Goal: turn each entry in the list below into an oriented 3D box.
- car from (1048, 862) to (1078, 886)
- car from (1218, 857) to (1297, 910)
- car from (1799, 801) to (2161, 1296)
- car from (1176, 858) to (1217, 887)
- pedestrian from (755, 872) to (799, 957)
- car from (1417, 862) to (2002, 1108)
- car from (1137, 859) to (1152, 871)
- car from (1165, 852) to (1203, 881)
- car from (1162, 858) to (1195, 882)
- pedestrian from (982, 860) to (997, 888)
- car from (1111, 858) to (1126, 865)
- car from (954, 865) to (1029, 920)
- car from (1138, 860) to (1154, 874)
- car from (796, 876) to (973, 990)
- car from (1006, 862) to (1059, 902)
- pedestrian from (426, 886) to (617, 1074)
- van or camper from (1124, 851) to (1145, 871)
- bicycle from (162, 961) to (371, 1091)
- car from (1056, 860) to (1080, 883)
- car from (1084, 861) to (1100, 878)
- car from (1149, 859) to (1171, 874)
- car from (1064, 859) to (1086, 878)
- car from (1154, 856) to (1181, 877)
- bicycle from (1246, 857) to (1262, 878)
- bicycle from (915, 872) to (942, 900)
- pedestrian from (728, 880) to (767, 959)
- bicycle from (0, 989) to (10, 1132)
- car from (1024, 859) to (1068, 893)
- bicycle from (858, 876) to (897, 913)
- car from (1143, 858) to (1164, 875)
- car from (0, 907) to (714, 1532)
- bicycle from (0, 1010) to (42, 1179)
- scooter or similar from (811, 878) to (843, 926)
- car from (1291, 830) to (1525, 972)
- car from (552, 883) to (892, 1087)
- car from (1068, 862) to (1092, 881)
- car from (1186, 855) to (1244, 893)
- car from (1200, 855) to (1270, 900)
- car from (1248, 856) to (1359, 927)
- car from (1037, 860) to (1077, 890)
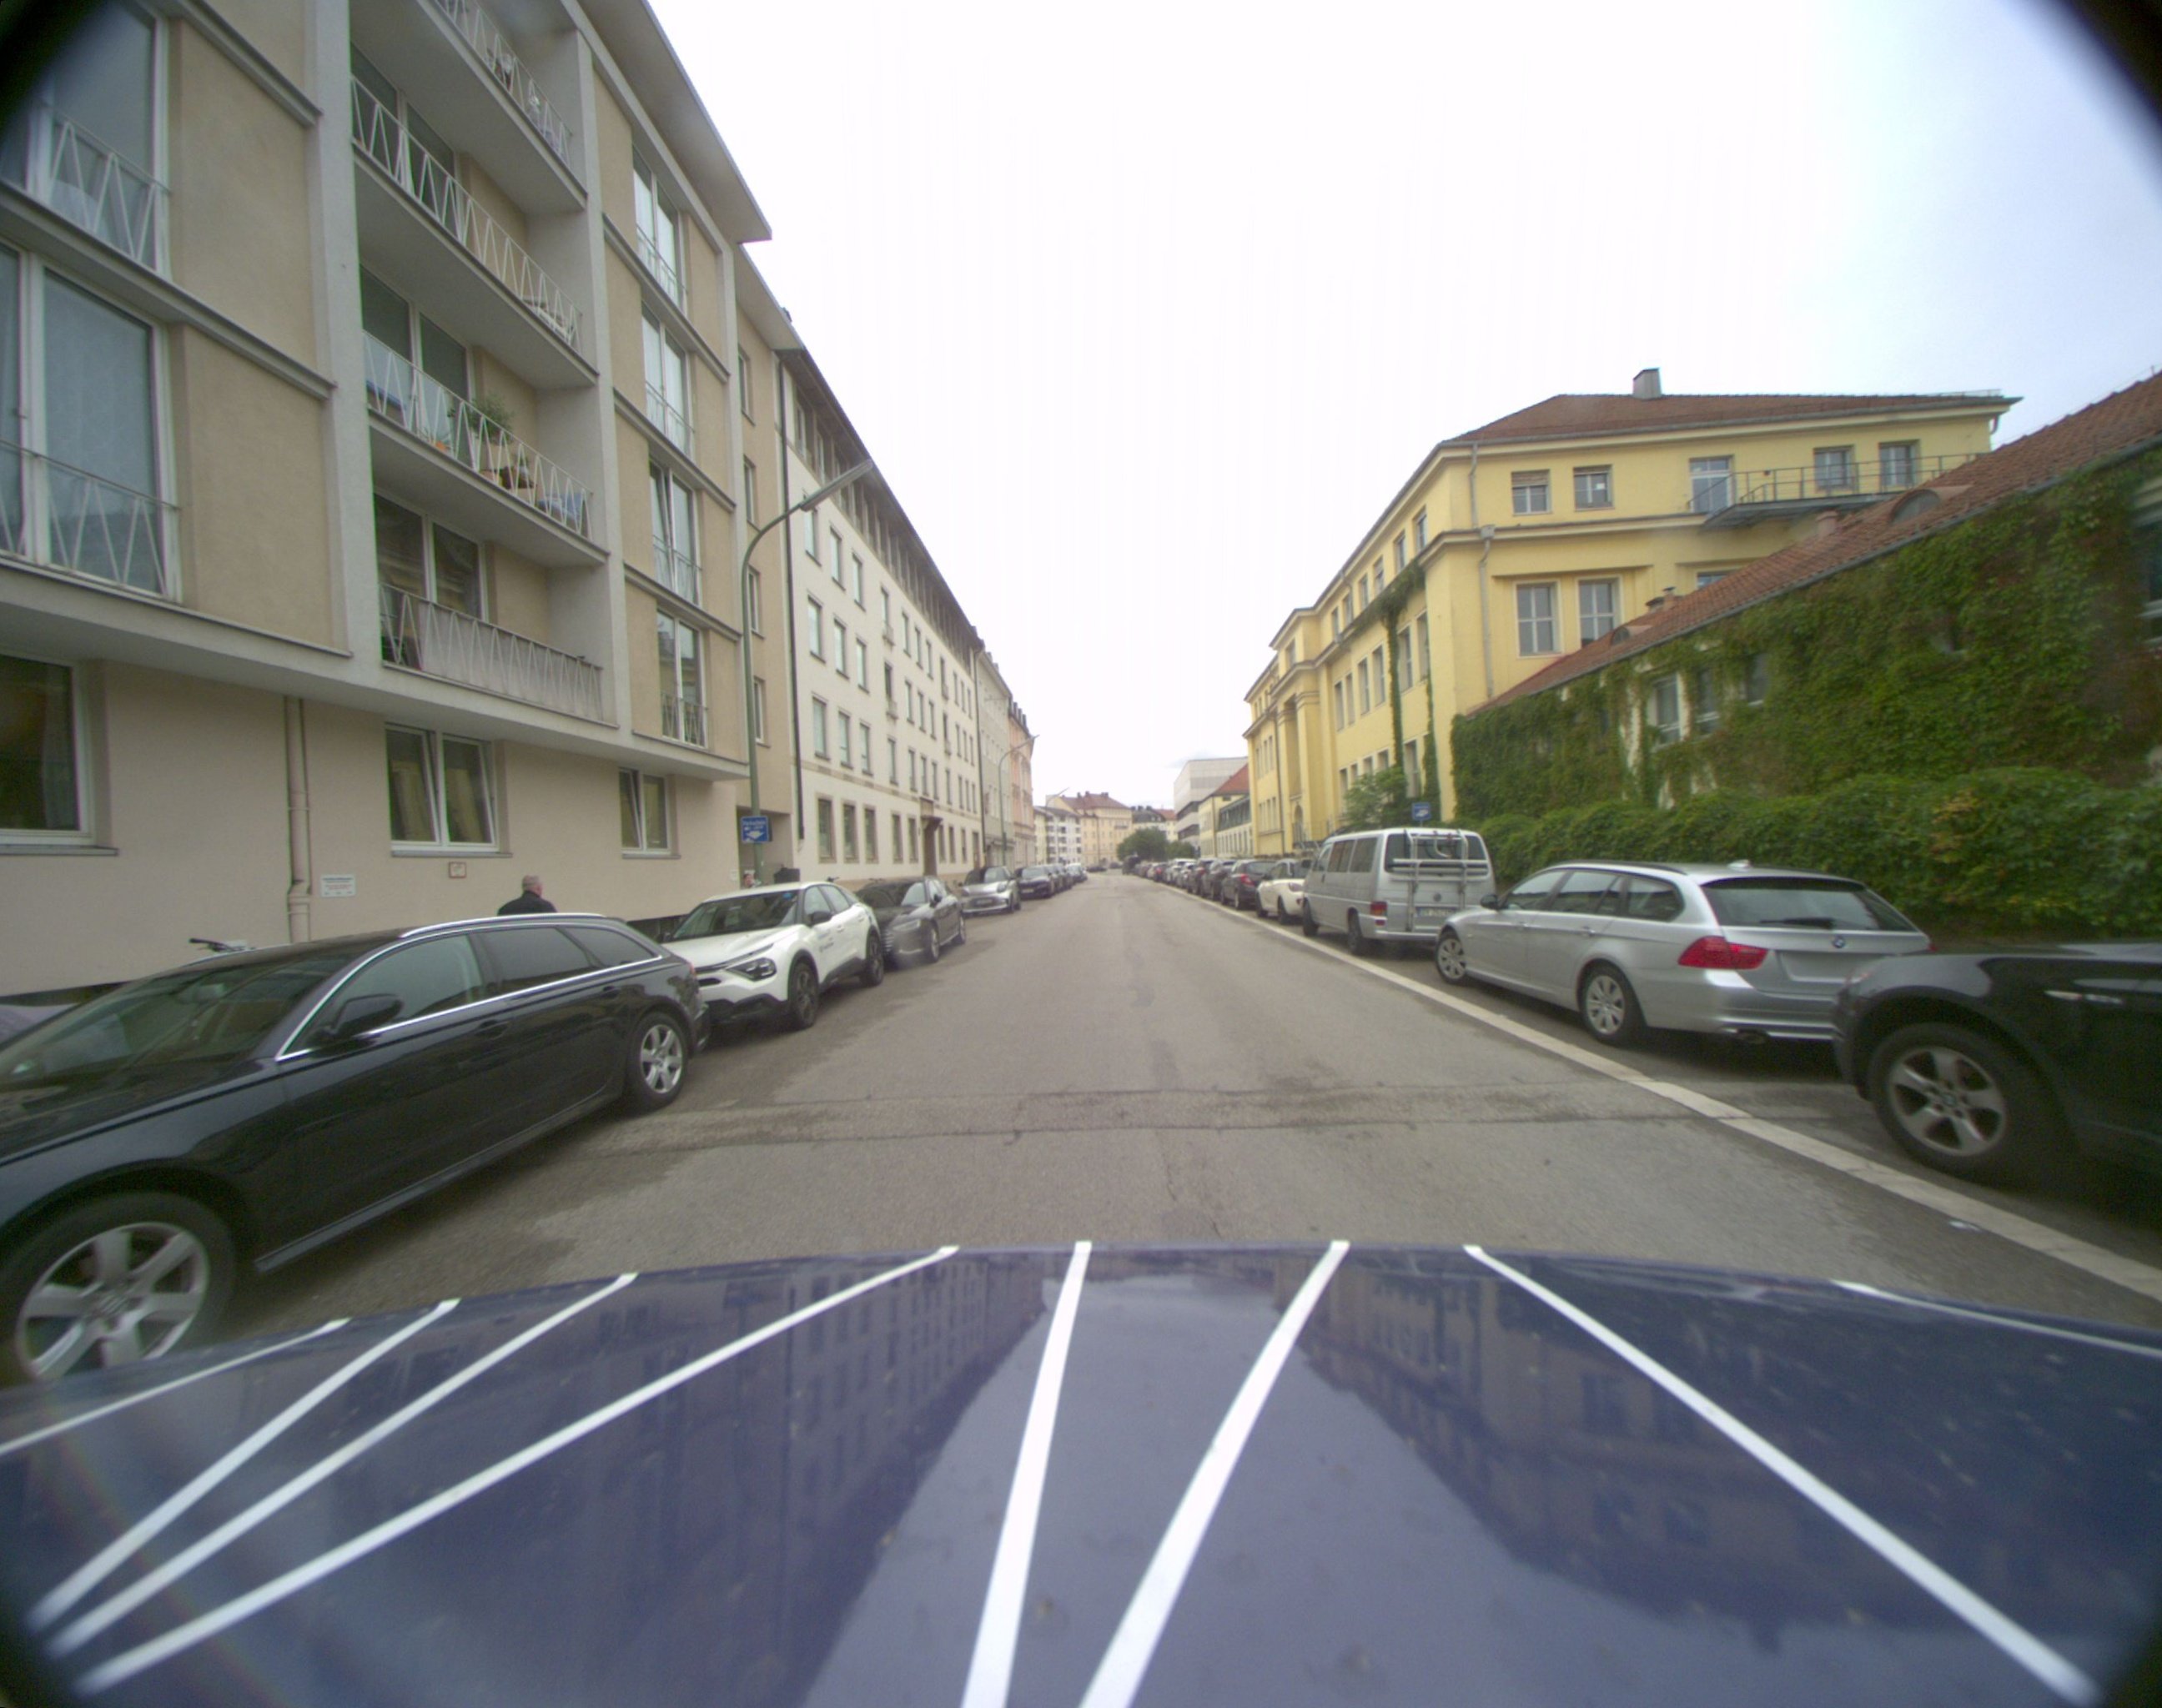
[{"bbox_3d":[-1.200,1.349,53.010,1.696,1.455,4.084,-3,0,3],"label":"car"},{"bbox_3d":[5.256,0.821,23.040,1.582,1.447,3.904,0,0,1],"label":"car"},{"bbox_3d":[4.564,0.693,1.767,1.623,1.720,4.425,1,0,1],"label":"car"},{"bbox_3d":[6.208,0.959,41.200,1.684,1.417,3.895,2,0,1],"label":"car"},{"bbox_3d":[-6.076,1.200,15.224,0.598,1.644,0.630,0,0,2],"label":"pedestrian"},{"bbox_3d":[4.786,0.817,6.835,1.705,1.414,4.425,1,0,2],"label":"car"},{"bbox_3d":[8.339,1.441,100.066,1.700,1.552,3.868,0,-1,0],"label":"car"},{"bbox_3d":[6.269,0.738,46.653,1.684,1.624,4.356,-3,0,-1],"label":"car"},{"bbox_3d":[6.640,1.086,52.006,1.684,1.496,3.973,-2,0,0],"label":"car"},{"bbox_3d":[-5.514,1.207,45.732,0.736,1.616,0.828,-1,0,3],"label":"pedestrian"},{"bbox_3d":[9.910,1.970,202.462,3.996,1.849,2.000,-2,0,3],"label":"car"},{"bbox_3d":[-2.865,1.204,25.129,1.675,1.525,3.882,-6,-1,3],"label":"car"},{"bbox_3d":[6.879,1.350,80.457,1.678,1.396,3.992,0,-1,4],"label":"car"},{"bbox_3d":[-3.267,1.256,13.627,1.800,1.412,4.483,-6,0,1],"label":"car"},{"bbox_3d":[-2.130,1.198,34.610,1.860,1.535,4.816,-5,0,1],"label":"car"},{"bbox_3d":[-5.644,1.210,7.775,0.900,1.678,1.319,-2,0,1],"label":"pedestrian"},{"bbox_3d":[7.813,0.993,111.205,2.142,2.791,5.571,-1,-1,-5],"label":"van or camper"},{"bbox_3d":[-7.777,1.603,7.347,0.445,0.930,1.401,-2,0,2],"label":"bicycle"},{"bbox_3d":[-0.988,1.302,58.440,1.696,1.574,4.083,-3,0,0],"label":"car"},{"bbox_3d":[1.155,1.596,80.573,1.607,1.632,3.631,-2,0,1],"label":"car"},{"bbox_3d":[7.206,1.123,69.643,1.679,1.389,3.997,0,-1,0],"label":"car"},{"bbox_3d":[-0.556,1.429,76.246,1.845,1.775,4.896,-5,-1,3],"label":"car"},{"bbox_3d":[6.379,0.937,56.540,1.684,1.487,3.986,0,0,2],"label":"car"},{"bbox_3d":[10.417,0.794,45.728,0.578,1.182,1.562,-5,0,3],"label":"bicycle"},{"bbox_3d":[-6.663,1.389,33.240,0.660,1.120,2.028,-2,0,3],"label":"bicycle"},{"bbox_3d":[-6.862,1.336,15.655,0.532,1.575,0.560,0,0,2],"label":"pedestrian"},{"bbox_3d":[-7.964,1.487,4.785,0.390,1.018,1.401,-2,0,2],"label":"bicycle"},{"bbox_3d":[-1.793,1.127,40.228,1.782,1.575,4.272,-3,0,3],"label":"car"},{"bbox_3d":[-6.942,1.352,26.036,0.660,1.156,2.028,-2,0,3],"label":"bicycle"},{"bbox_3d":[7.152,1.231,75.026,1.679,1.557,3.997,0,-1,0],"label":"car"},{"bbox_3d":[-3.898,1.266,3.631,1.743,1.490,4.496,-8,0,3],"label":"car"},{"bbox_3d":[-7.011,1.522,4.222,0.484,1.018,1.401,-2,0,2],"label":"bicycle"},{"bbox_3d":[-7.233,1.349,21.660,0.601,1.245,1.037,-1,3,-6],"label":"scooter or similar"},{"bbox_3d":[5.000,0.627,12.488,1.998,1.864,4.759,1,0,3],"label":"car"},{"bbox_3d":[-3.689,1.230,8.793,1.743,1.490,4.219,-6,0,1],"label":"car"},{"bbox_3d":[-0.082,1.479,64.949,1.696,1.442,4.084,-2,0,4],"label":"car"},{"bbox_3d":[5.708,0.816,32.889,1.786,1.529,4.195,1,0,0],"label":"car"},{"bbox_3d":[5.534,0.788,27.784,1.786,1.529,4.149,0,0,0],"label":"car"},{"bbox_3d":[5.082,0.790,17.813,1.582,1.483,3.730,0,0,1],"label":"car"},{"bbox_3d":[-1.371,1.200,45.105,1.782,1.575,4.331,-4,-1,4],"label":"car"}]
